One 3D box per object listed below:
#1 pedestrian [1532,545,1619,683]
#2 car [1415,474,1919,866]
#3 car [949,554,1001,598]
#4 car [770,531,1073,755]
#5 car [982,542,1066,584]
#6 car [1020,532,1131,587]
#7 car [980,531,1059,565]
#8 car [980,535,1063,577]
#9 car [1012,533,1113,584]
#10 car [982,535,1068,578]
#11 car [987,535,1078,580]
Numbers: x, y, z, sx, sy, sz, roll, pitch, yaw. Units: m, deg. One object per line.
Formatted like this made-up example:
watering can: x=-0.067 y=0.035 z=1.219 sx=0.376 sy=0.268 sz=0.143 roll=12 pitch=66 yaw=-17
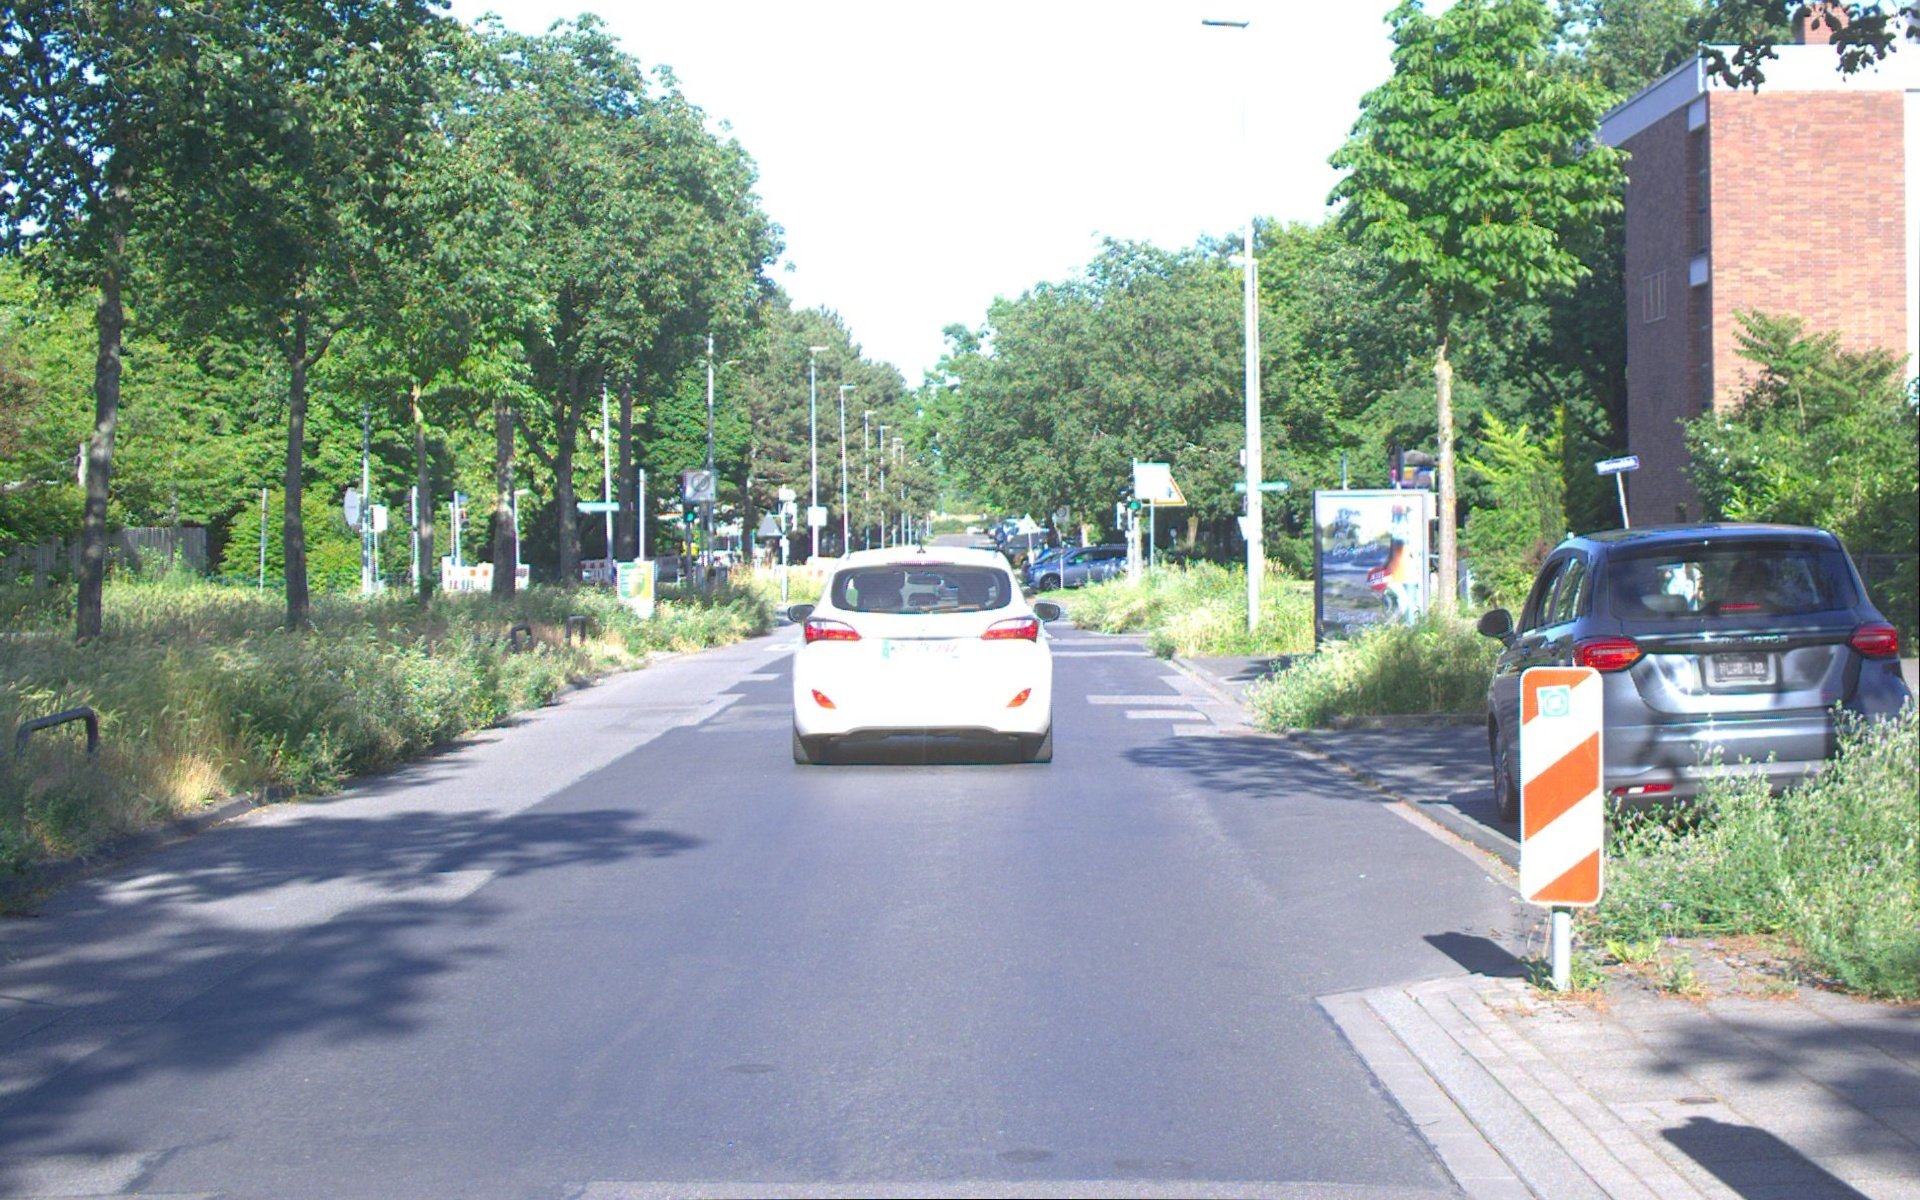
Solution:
pedestrian: x=9.038 y=0.199 z=50.537 sx=1.112 sy=2.007 sz=0.922 roll=0 pitch=1 yaw=0
car: x=3.694 y=0.301 z=17.647 sx=1.993 sy=1.722 sz=4.000 roll=-2 pitch=0 yaw=-2
car: x=0.535 y=-0.897 z=126.151 sx=1.816 sy=1.503 sz=3.658 roll=3 pitch=1 yaw=0
car: x=-0.355 y=0.240 z=24.723 sx=1.993 sy=1.450 sz=4.225 roll=0 pitch=1 yaw=-3
car: x=3.074 y=-1.783 z=165.267 sx=3.987 sy=2.007 sz=2.000 roll=0 pitch=1 yaw=-1
car: x=4.219 y=-1.494 z=126.015 sx=3.987 sy=2.007 sz=2.000 roll=0 pitch=1 yaw=-1
car: x=3.088 y=-2.723 z=178.139 sx=3.986 sy=1.744 sz=2.000 roll=0 pitch=1 yaw=-2
car: x=2.977 y=-2.165 z=167.985 sx=3.987 sy=2.007 sz=2.000 roll=0 pitch=1 yaw=-1
car: x=4.101 y=-1.672 z=138.123 sx=3.987 sy=2.007 sz=2.000 roll=0 pitch=1 yaw=-1
car: x=3.050 y=-2.075 z=162.695 sx=3.987 sy=2.007 sz=2.000 roll=0 pitch=1 yaw=-1
car: x=3.245 y=-1.908 z=154.657 sx=3.987 sy=2.007 sz=2.000 roll=0 pitch=1 yaw=-1
